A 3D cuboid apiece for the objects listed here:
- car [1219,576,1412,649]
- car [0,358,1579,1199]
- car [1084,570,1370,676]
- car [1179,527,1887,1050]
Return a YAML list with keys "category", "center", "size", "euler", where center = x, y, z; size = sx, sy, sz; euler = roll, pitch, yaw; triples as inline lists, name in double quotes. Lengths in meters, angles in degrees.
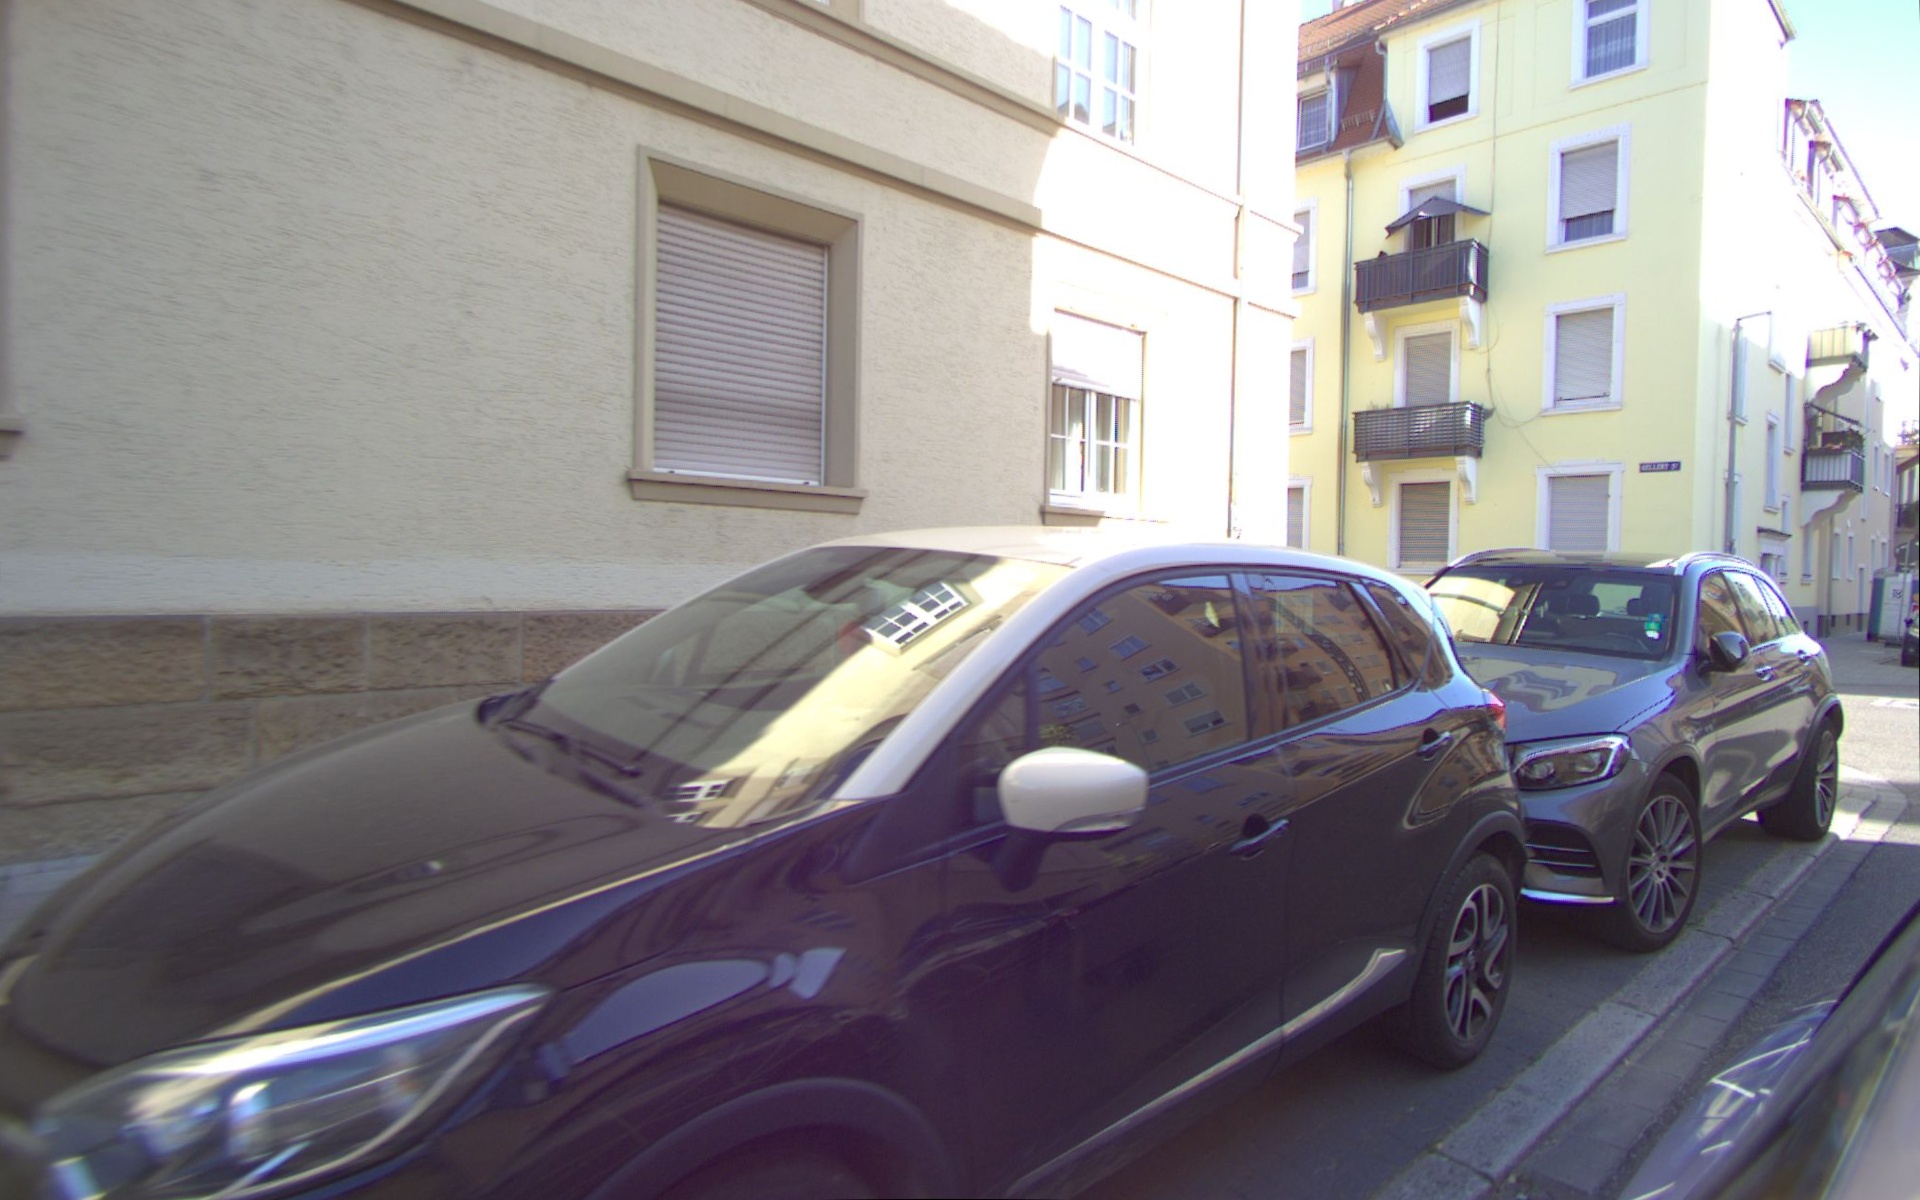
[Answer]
- category: "car"
  center: [7.477, 0.237, 21.432]
  size: [3.498, 1.397, 1.621]
  euler: [2, 0, 43]
- category: "car"
  center: [-0.114, 0.534, 2.586]
  size: [3.844, 1.565, 1.684]
  euler: [0, 2, -39]
- category: "car"
  center: [4.189, 0.278, 16.295]
  size: [4.162, 1.490, 1.667]
  euler: [2, 1, 43]
- category: "car"
  center: [3.259, 0.584, 5.339]
  size: [4.354, 1.685, 1.791]
  euler: [0, 1, -39]
